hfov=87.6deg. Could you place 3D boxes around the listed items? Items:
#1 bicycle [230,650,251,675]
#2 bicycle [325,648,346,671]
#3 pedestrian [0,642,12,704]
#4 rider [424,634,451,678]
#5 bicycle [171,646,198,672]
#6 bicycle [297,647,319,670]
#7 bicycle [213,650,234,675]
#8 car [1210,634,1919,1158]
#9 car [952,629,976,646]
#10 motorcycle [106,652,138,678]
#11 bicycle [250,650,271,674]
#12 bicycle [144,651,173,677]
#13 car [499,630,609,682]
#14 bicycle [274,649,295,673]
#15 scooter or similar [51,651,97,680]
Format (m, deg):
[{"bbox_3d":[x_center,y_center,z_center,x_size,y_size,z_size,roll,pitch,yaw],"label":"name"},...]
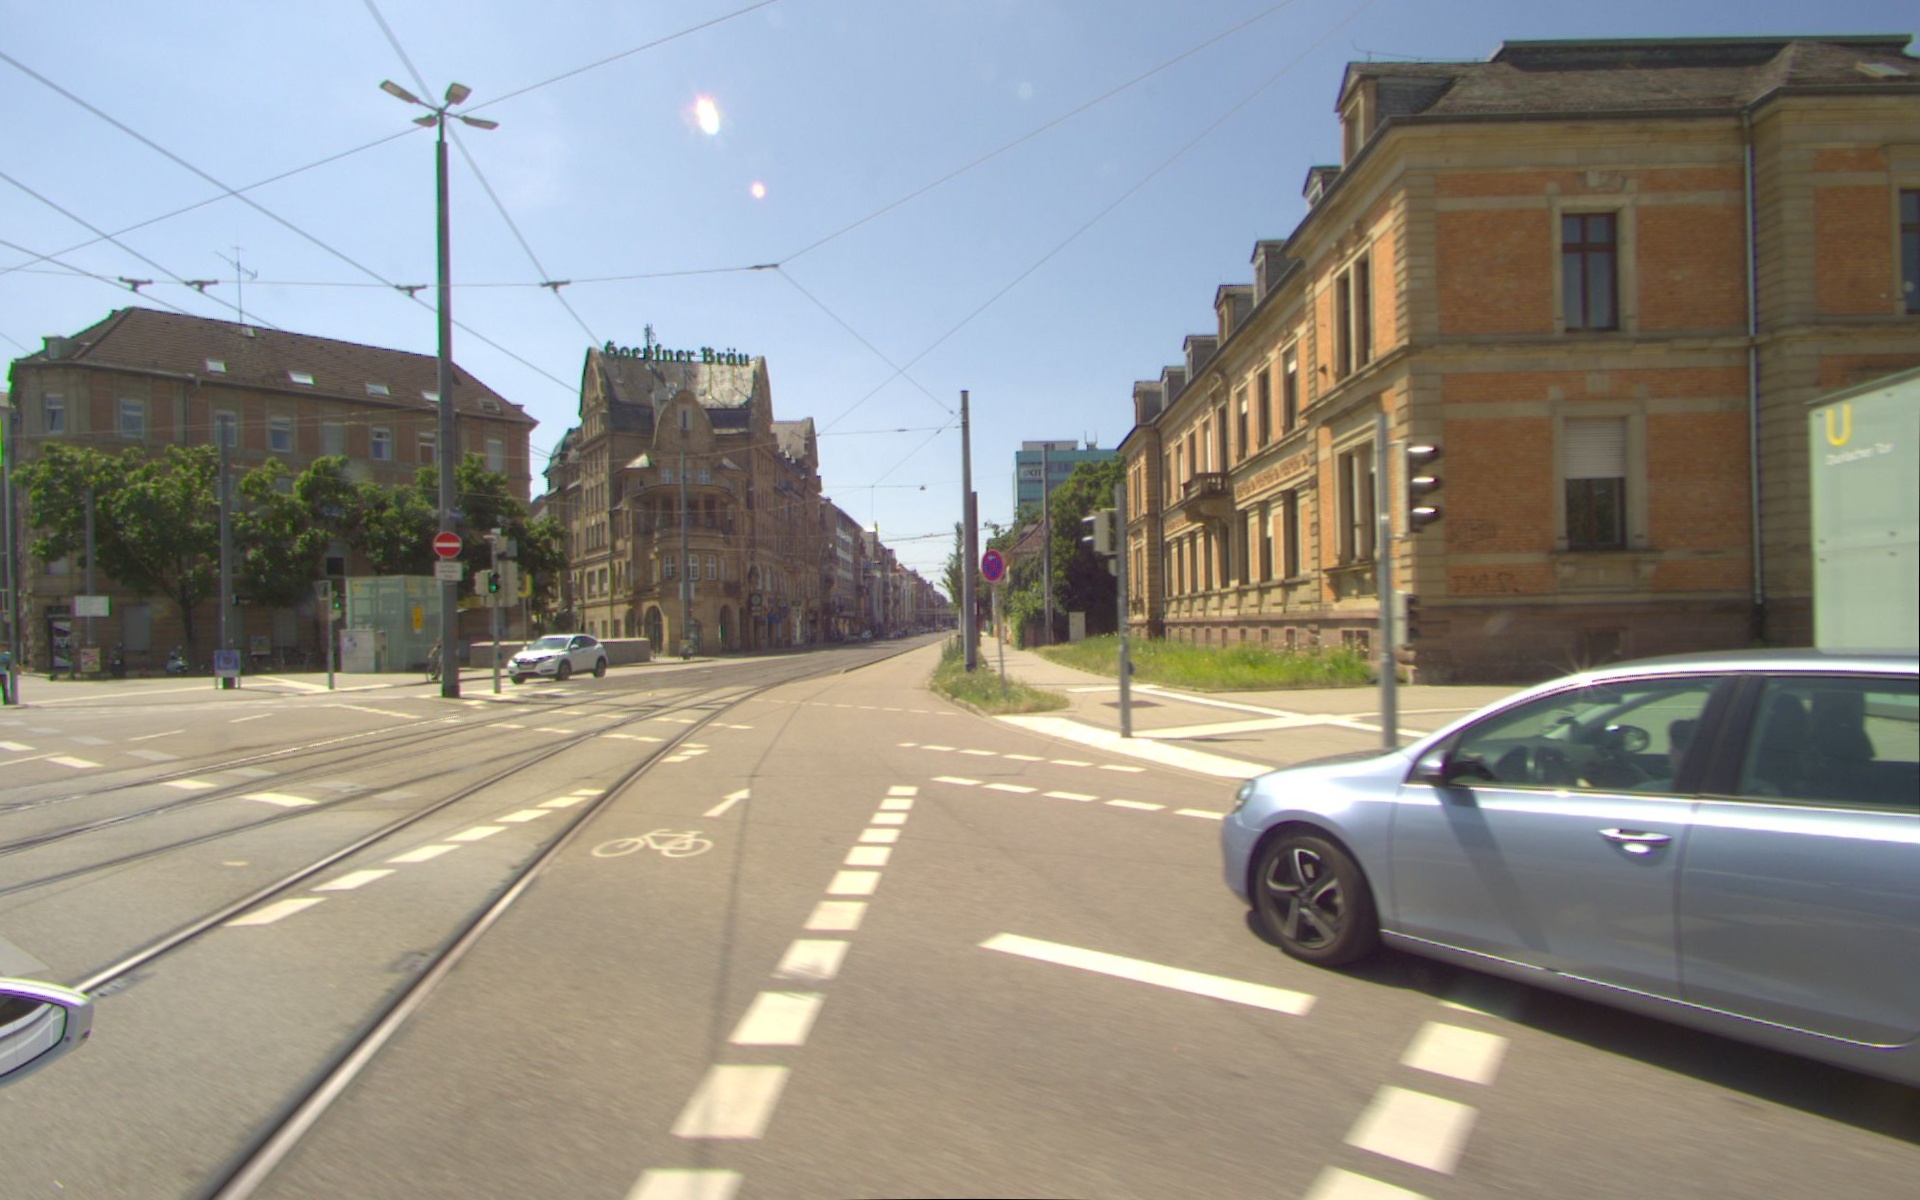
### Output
[{"bbox_3d":[-33.666,2.903,46.846,0.547,1.134,1.803,0,-2,-43],"label":"bicycle"},{"bbox_3d":[-31.510,2.992,50.541,0.547,1.134,1.803,0,-2,-43],"label":"bicycle"},{"bbox_3d":[-27.361,2.066,28.341,0.628,1.730,0.462,-1,-1,8],"label":"pedestrian"},{"bbox_3d":[-19.386,2.069,37.160,0.553,1.622,0.875,-1,-1,-2],"label":"rider"},{"bbox_3d":[-35.376,2.705,45.682,2.068,1.159,0.441,-4,-4,37],"label":"bicycle"},{"bbox_3d":[-32.381,2.893,49.715,0.547,1.134,1.911,0,-2,-43],"label":"bicycle"},{"bbox_3d":[-34.189,2.881,46.461,0.547,1.134,1.803,0,-2,-43],"label":"bicycle"},{"bbox_3d":[3.044,0.884,3.783,1.636,1.477,3.978,1,-3,-35],"label":"car"},{"bbox_3d":[0.401,3.553,94.467,1.961,1.470,4.004,-1,-4,4],"label":"car"},{"bbox_3d":[-36.436,2.801,43.538,1.920,1.088,0.578,-2,-1,34],"label":"motorcycle"},{"bbox_3d":[-33.155,2.932,47.448,0.547,1.134,1.871,0,-2,-43],"label":"bicycle"},{"bbox_3d":[-35.699,2.835,44.591,1.797,1.134,0.549,-2,-1,37],"label":"bicycle"},{"bbox_3d":[-13.772,1.863,34.226,1.662,1.626,4.194,-1,-1,6],"label":"car"},{"bbox_3d":[-32.957,2.984,48.854,0.547,1.134,1.853,0,-1,-43],"label":"bicycle"},{"bbox_3d":[-39.185,2.881,44.322,0.588,1.196,1.792,-1,-1,-6],"label":"scooter or similar"}]
